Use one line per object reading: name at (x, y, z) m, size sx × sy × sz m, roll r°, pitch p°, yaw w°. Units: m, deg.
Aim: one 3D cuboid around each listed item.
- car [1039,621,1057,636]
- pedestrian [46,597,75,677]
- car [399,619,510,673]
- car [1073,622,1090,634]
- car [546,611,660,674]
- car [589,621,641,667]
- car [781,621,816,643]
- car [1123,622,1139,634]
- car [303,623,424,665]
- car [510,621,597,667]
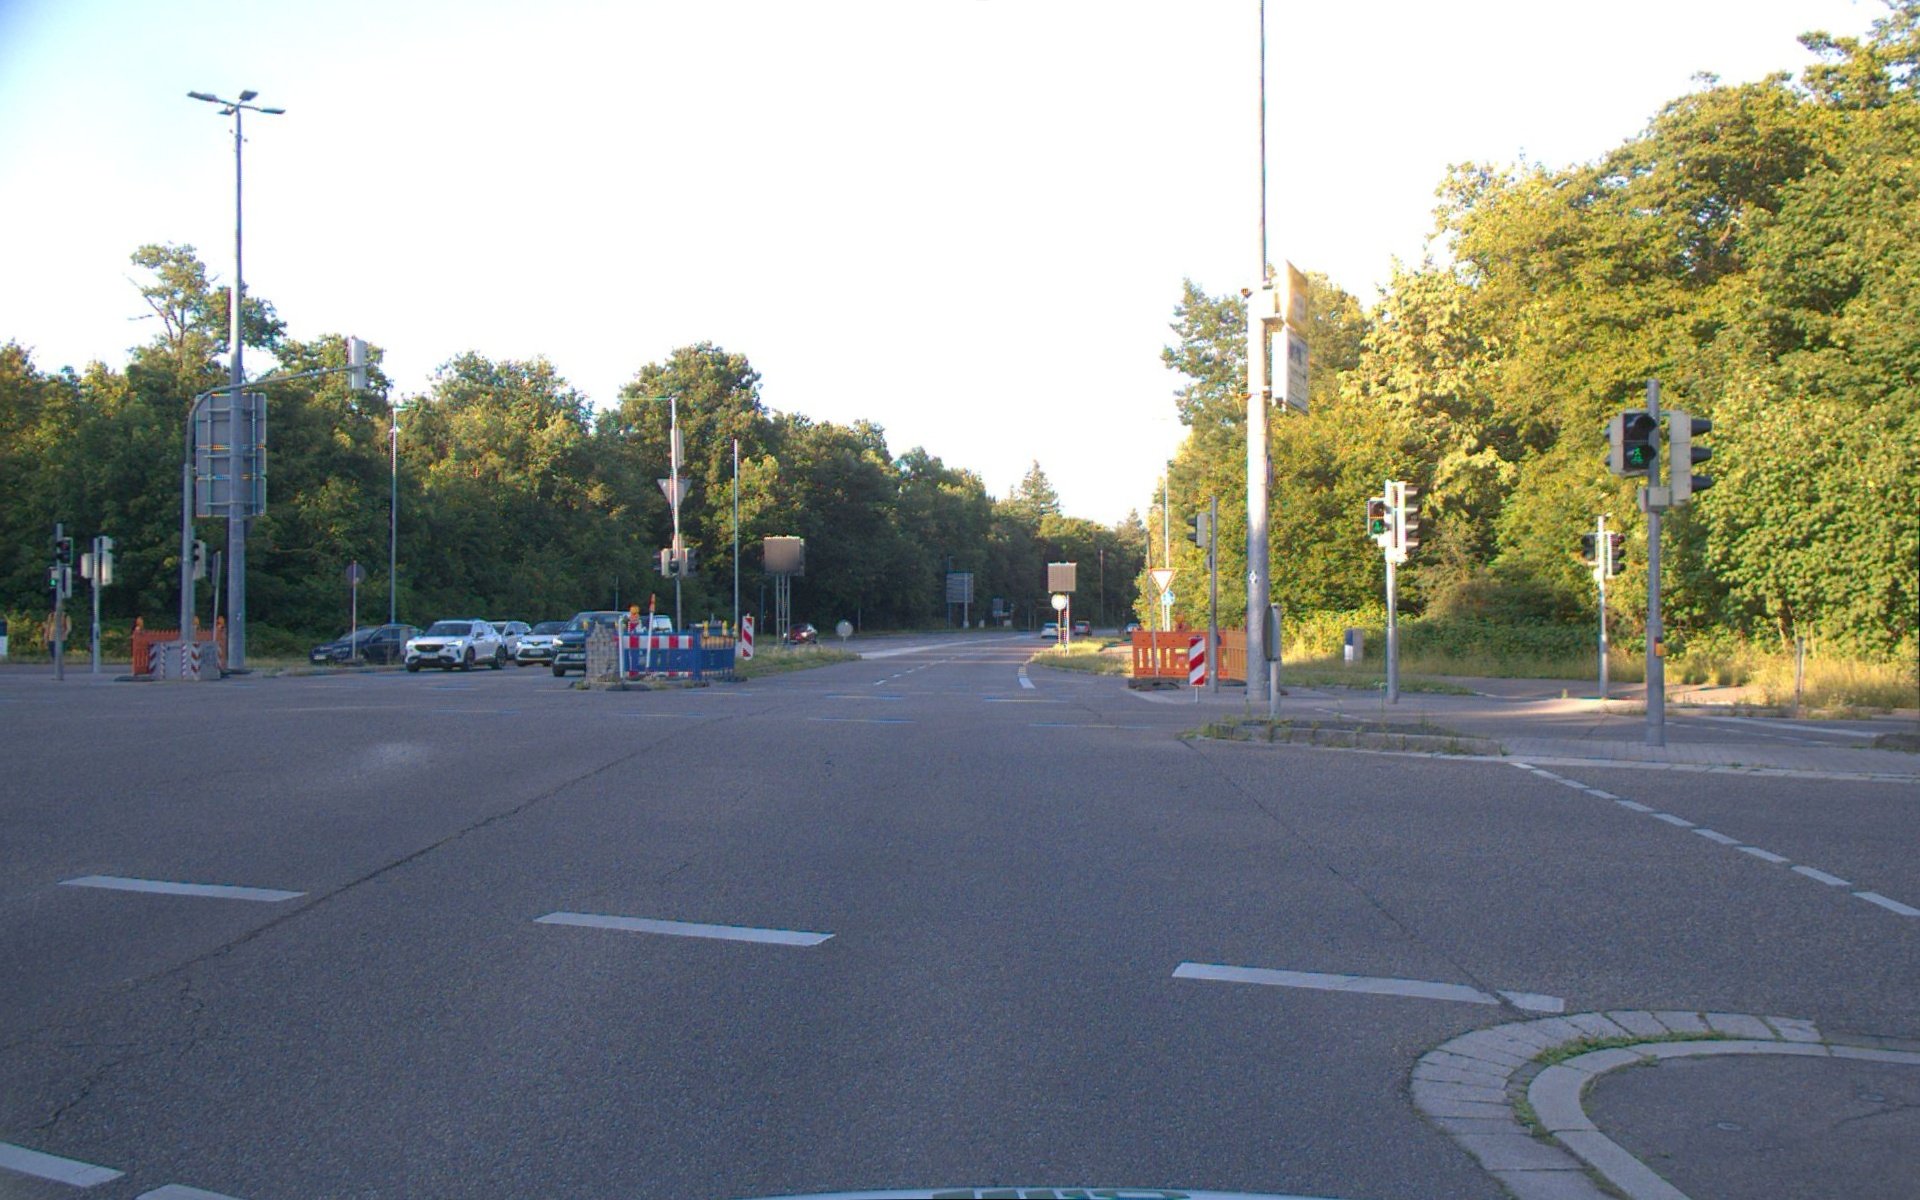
car at (8.466, 2.741, 158.694) m, size 1.514 × 1.371 × 3.116 m, roll -1°, pitch 0°, yaw 8°
pedestrian at (-20.711, 0.844, 38.090) m, size 0.568 × 1.832 × 0.742 m, roll 0°, pitch -1°, yaw -31°
car at (-14.799, 1.309, 48.642) m, size 1.680 × 1.481 × 4.235 m, roll 0°, pitch 0°, yaw 4°
car at (13.656, 3.148, 185.401) m, size 1.424 × 1.266 × 2.966 m, roll 0°, pitch 0°, yaw 14°
car at (-8.936, 1.037, 41.696) m, size 1.680 × 1.481 × 4.235 m, roll 0°, pitch 0°, yaw 4°
car at (-16.412, 2.066, 78.851) m, size 1.841 × 2.060 × 4.229 m, roll 0°, pitch 0°, yaw -4°
car at (-11.421, 2.255, 117.143) m, size 1.838 × 1.447 × 4.235 m, roll 0°, pitch 0°, yaw 4°
car at (21.893, 3.560, 211.792) m, size 1.544 × 1.561 × 3.680 m, roll 0°, pitch 0°, yaw 15°
car at (-19.311, 1.408, 53.698) m, size 1.570 × 1.266 × 3.644 m, roll -1°, pitch 0°, yaw 26°
car at (-13.860, 1.476, 56.658) m, size 1.680 × 1.481 × 4.235 m, roll 0°, pitch 0°, yaw 4°
